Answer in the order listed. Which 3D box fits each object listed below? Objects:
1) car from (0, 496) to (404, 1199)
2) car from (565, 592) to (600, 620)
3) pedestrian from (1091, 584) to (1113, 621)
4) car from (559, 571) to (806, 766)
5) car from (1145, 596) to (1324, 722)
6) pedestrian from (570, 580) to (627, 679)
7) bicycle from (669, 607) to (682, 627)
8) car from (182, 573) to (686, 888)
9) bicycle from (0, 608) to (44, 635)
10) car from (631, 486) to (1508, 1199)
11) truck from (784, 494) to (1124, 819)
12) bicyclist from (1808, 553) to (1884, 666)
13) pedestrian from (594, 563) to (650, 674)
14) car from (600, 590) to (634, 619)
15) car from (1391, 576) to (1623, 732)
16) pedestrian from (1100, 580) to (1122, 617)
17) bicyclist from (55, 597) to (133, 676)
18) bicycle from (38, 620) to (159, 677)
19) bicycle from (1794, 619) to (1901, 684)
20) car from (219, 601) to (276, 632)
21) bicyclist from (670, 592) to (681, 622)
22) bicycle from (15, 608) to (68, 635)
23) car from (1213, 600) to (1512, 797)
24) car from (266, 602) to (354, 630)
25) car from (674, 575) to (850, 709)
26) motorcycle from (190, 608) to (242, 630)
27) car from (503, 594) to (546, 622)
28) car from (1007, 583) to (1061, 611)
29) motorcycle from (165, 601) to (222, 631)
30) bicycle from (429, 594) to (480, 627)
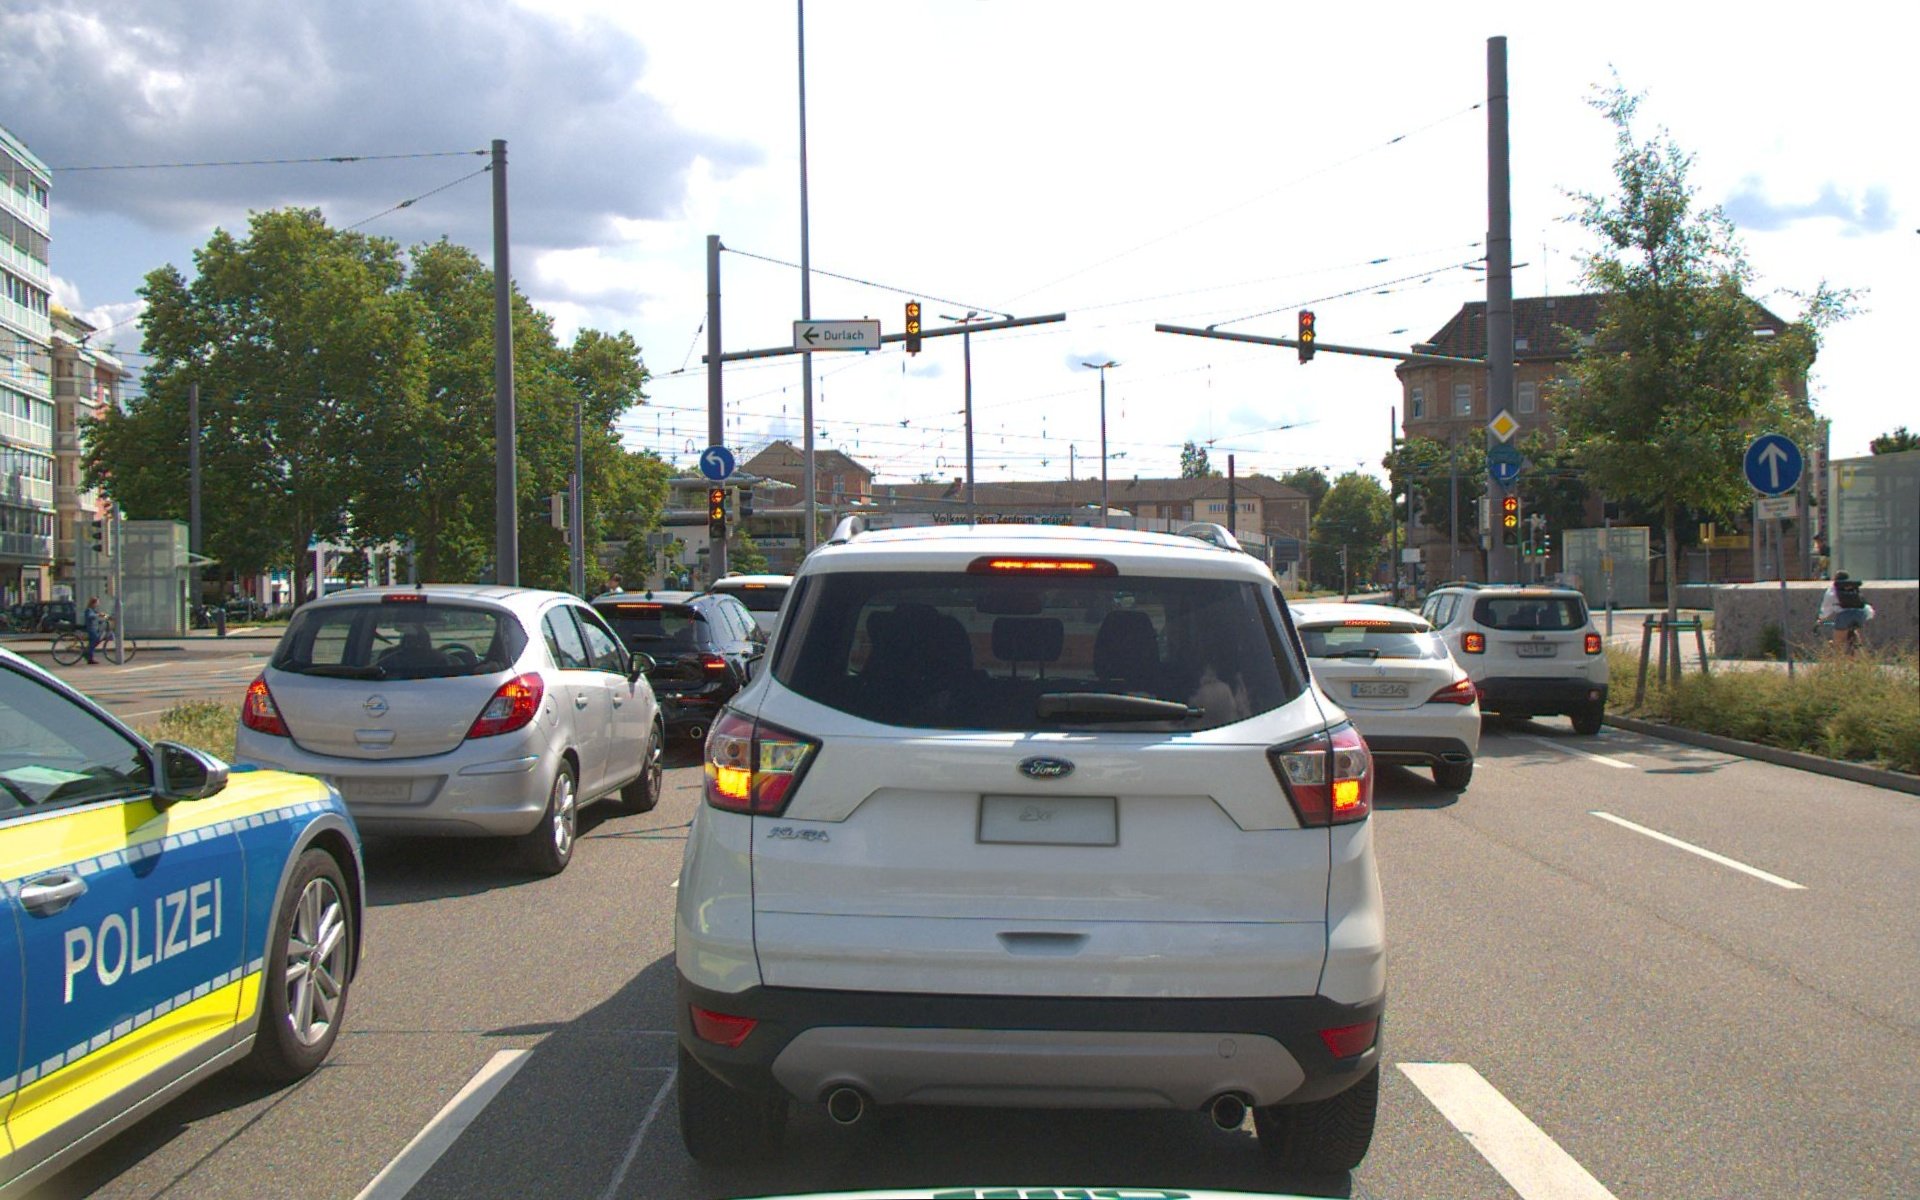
[{"bbox_3d":[-2.756,0.610,3.237,1.842,1.595,4.614,-1,0,-1],"label":"car"},{"bbox_3d":[-28.144,0.477,123.453,1.929,1.971,4.226,-2,-1,-5],"label":"car"},{"bbox_3d":[6.896,0.127,80.447,0.919,1.774,0.580,1,-1,-43],"label":"pedestrian"},{"bbox_3d":[-2.507,0.554,15.983,1.727,1.595,4.525,-1,0,-2],"label":"car"},{"bbox_3d":[3.358,0.678,20.851,1.811,1.443,3.680,0,0,3],"label":"car"},{"bbox_3d":[-6.294,0.507,28.842,0.830,1.676,0.692,-1,-1,-1],"label":"pedestrian"},{"bbox_3d":[-16.991,1.015,98.746,0.627,1.145,1.778,0,1,-14],"label":"bicycle"},{"bbox_3d":[-2.874,0.624,10.009,1.810,1.500,3.999,-1,0,-1],"label":"car"},{"bbox_3d":[-40.946,0.934,71.986,1.776,1.167,0.792,-1,0,-19],"label":"bicycle"},{"bbox_3d":[0.312,0.616,5.376,1.789,1.693,3.957,0,0,3],"label":"car"},{"bbox_3d":[-0.014,0.367,14.136,2.291,2.193,5.852,0,0,0],"label":"truck"},{"bbox_3d":[11.796,0.123,22.038,0.595,1.476,0.774,-1,0,0],"label":"bicyclist"},{"bbox_3d":[-6.059,0.329,29.697,0.830,1.950,0.692,-1,-1,-1],"label":"pedestrian"},{"bbox_3d":[-25.538,0.350,123.238,1.955,2.049,4.226,-2,-1,-5],"label":"car"},{"bbox_3d":[6.457,0.594,19.966,1.797,1.681,4.002,0,0,5],"label":"car"},{"bbox_3d":[7.283,-0.090,79.767,0.919,1.774,0.580,1,-1,-42],"label":"pedestrian"},{"bbox_3d":[-19.991,0.833,38.202,1.271,1.761,0.994,-1,0,-3],"label":"bicyclist"},{"bbox_3d":[-19.879,1.109,38.201,2.248,1.209,0.994,-1,0,-4],"label":"bicycle"},{"bbox_3d":[11.800,0.670,22.039,0.572,0.789,1.621,-1,0,1],"label":"bicycle"},{"bbox_3d":[-35.671,0.845,82.888,1.872,1.438,3.987,-1,-1,-12],"label":"car"},{"bbox_3d":[-16.989,0.435,98.650,0.627,1.768,0.660,0,1,-14],"label":"bicyclist"},{"bbox_3d":[-40.700,0.958,73.294,1.914,1.167,0.792,-1,0,-19],"label":"bicycle"},{"bbox_3d":[3.250,0.726,14.047,1.811,1.443,3.680,0,0,3],"label":"car"},{"bbox_3d":[-33.808,0.846,86.058,3.907,1.350,1.632,-2,-1,-3],"label":"car"},{"bbox_3d":[-2.518,0.495,22.069,1.999,1.606,4.537,0,0,-3],"label":"car"},{"bbox_3d":[-34.308,0.876,76.307,0.795,0.933,2.037,0,1,36],"label":"motorcycle"},{"bbox_3d":[-32.729,0.603,124.502,1.928,1.971,5.067,-2,-1,-1],"label":"car"},{"bbox_3d":[4.232,-0.197,93.744,1.860,1.487,3.969,-2,0,21],"label":"car"},{"bbox_3d":[-33.142,0.689,71.482,2.165,1.259,0.906,-1,1,17],"label":"motorcycle"},{"bbox_3d":[-22.783,0.468,74.570,2.133,1.439,0.809,0,1,-16],"label":"bicycle"}]
